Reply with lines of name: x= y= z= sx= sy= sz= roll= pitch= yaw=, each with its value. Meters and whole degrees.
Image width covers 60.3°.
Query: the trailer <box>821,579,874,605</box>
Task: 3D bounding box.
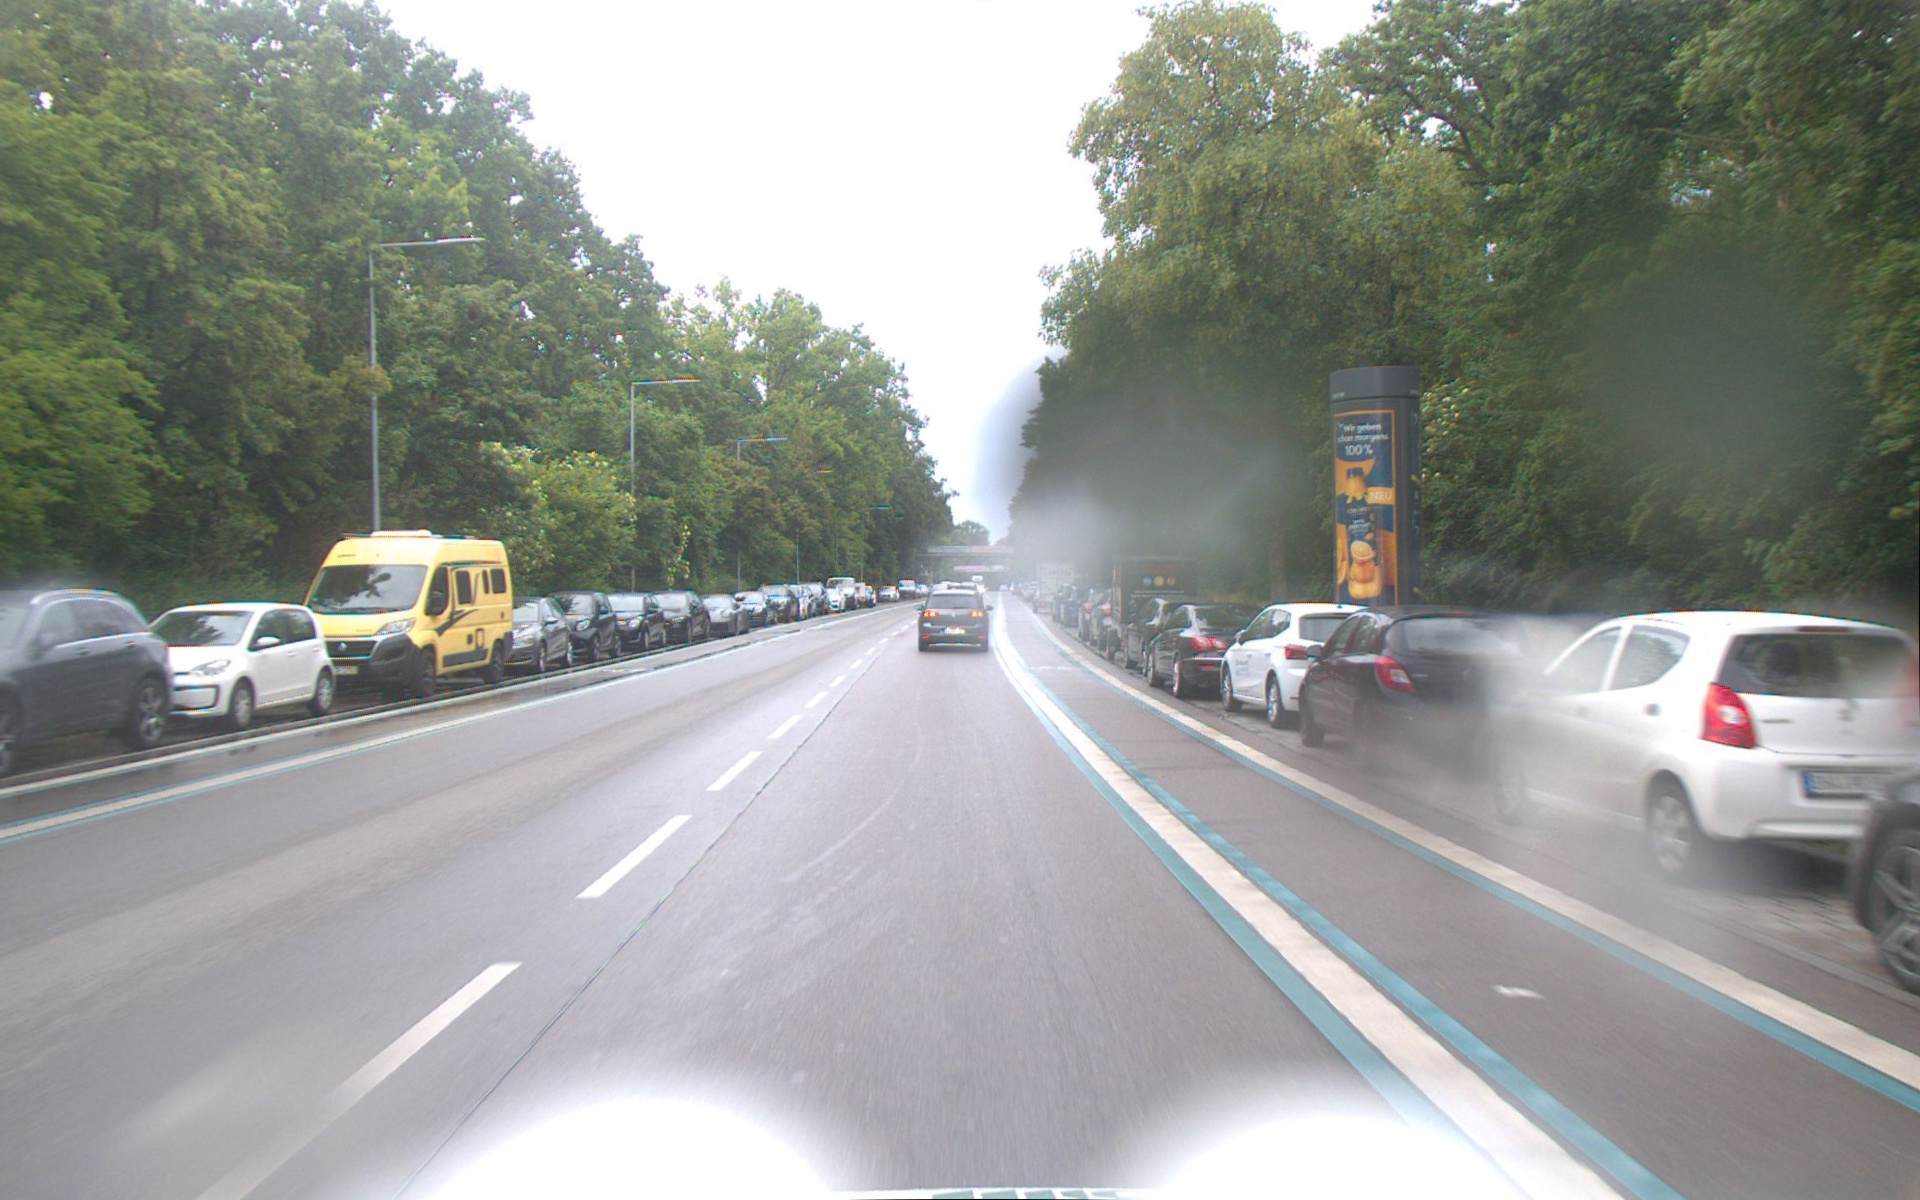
trailer: x=-7.263 y=-0.530 z=106.729 sx=1.596 sy=1.657 sz=3.664 roll=0 pitch=1 yaw=32

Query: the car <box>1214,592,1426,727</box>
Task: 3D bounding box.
car: x=4.386 y=0.669 z=20.724 sx=1.585 sy=1.492 sz=3.998 roll=1 pitch=0 yaw=-3

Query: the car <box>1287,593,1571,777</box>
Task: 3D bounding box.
car: x=4.372 y=0.713 z=16.005 sx=1.625 sy=1.490 sz=3.900 roll=2 pitch=1 yaw=0

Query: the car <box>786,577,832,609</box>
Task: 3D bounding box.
car: x=-7.731 y=-0.362 z=84.847 sx=1.840 sy=1.588 sz=4.469 roll=0 pitch=1 yaw=1

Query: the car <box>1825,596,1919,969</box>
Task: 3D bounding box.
car: x=4.758 y=0.753 z=4.935 sx=1.818 sy=1.480 sz=4.750 roll=0 pitch=1 yaw=-1

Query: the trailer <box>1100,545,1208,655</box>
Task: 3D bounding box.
trailer: x=4.241 y=-0.033 z=36.865 sx=1.867 sy=2.287 sz=4.768 roll=0 pitch=1 yaw=0

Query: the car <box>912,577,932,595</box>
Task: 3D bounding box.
car: x=-4.468 y=-1.715 z=196.111 sx=2.114 sy=2.049 sz=5.032 roll=-1 pitch=1 yaw=2

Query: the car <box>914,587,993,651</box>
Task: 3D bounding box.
car: x=-0.185 y=0.467 z=40.992 sx=1.833 sy=1.466 sz=4.295 roll=1 pitch=-1 yaw=-1

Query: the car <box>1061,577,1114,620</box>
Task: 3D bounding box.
car: x=4.641 y=-0.092 z=60.563 sx=1.647 sy=1.507 sz=4.319 roll=0 pitch=1 yaw=0

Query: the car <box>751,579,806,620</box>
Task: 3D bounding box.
car: x=-7.484 y=-0.048 z=68.524 sx=1.661 sy=1.611 sz=4.140 roll=-1 pitch=1 yaw=2

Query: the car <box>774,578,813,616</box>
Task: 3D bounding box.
car: x=-7.332 y=-0.152 z=72.987 sx=1.431 sy=1.598 sz=2.984 roll=-1 pitch=1 yaw=0

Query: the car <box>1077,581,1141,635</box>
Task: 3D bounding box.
car: x=4.283 y=0.199 z=47.880 sx=1.581 sy=1.496 sz=4.001 roll=1 pitch=1 yaw=1

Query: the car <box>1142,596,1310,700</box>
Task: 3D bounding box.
car: x=4.038 y=0.681 z=25.809 sx=1.716 sy=1.418 sz=4.444 roll=1 pitch=0 yaw=-2

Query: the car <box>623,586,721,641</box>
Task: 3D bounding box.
car: x=-8.306 y=0.370 z=48.080 sx=1.952 sy=1.477 sz=4.140 roll=-1 pitch=1 yaw=2

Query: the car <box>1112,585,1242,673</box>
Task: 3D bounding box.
car: x=4.071 y=0.501 z=31.652 sx=1.785 sy=1.511 sz=4.198 roll=1 pitch=1 yaw=-2

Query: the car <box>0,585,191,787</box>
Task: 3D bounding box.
car: x=-9.314 y=0.746 z=15.642 sx=1.953 sy=1.730 sz=4.615 roll=-1 pitch=1 yaw=-1

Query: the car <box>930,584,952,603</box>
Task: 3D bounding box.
car: x=-1.608 y=-0.596 z=140.660 sx=1.663 sy=1.510 sz=4.036 roll=-2 pitch=1 yaw=1

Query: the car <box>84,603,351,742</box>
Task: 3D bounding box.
car: x=-9.156 y=0.833 z=20.725 sx=1.584 sy=1.474 sz=3.658 roll=-2 pitch=1 yaw=1

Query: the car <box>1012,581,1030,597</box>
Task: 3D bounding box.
car: x=7.336 y=-1.290 z=199.083 sx=1.952 sy=1.803 sz=4.001 roll=-2 pitch=0 yaw=1

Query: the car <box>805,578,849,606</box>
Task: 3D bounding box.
car: x=-7.294 y=-0.444 z=91.367 sx=1.952 sy=1.514 sz=4.469 roll=0 pitch=1 yaw=1

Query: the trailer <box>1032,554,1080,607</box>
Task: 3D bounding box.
trailer: x=4.824 y=-0.975 z=83.429 sx=2.089 sy=2.605 sz=4.296 roll=-1 pitch=1 yaw=-1

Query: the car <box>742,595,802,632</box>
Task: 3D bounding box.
car: x=-7.180 y=0.502 z=63.518 sx=1.661 sy=1.323 sz=4.193 roll=-1 pitch=1 yaw=2

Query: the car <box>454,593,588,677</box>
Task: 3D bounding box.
car: x=-8.776 y=0.651 z=33.377 sx=1.645 sy=1.524 sz=4.148 roll=-2 pitch=1 yaw=-1

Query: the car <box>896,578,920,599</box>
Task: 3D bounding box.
car: x=-5.363 y=-1.225 z=171.396 sx=2.114 sy=2.049 sz=5.032 roll=-1 pitch=1 yaw=2

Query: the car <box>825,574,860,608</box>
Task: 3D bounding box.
car: x=-7.222 y=-0.582 z=101.747 sx=1.900 sy=2.049 sz=4.739 roll=-1 pitch=1 yaw=-2

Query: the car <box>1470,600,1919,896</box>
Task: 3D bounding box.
car: x=4.594 y=0.766 z=10.382 sx=1.528 sy=1.486 sz=3.674 roll=0 pitch=0 yaw=-2

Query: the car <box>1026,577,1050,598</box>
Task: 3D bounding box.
car: x=6.208 y=-0.981 z=131.908 sx=1.858 sy=1.634 sz=4.001 roll=0 pitch=1 yaw=1

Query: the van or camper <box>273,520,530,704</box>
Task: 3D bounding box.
van or camper: x=-8.973 y=0.139 z=27.228 sx=2.099 sy=2.673 sz=5.684 roll=-1 pitch=1 yaw=2

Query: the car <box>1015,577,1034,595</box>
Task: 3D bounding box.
car: x=7.466 y=-1.646 z=191.721 sx=1.953 sy=2.049 sz=4.000 roll=0 pitch=0 yaw=0

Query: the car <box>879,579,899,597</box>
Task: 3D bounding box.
car: x=-6.278 y=-1.042 z=146.738 sx=1.638 sy=1.540 sz=3.631 roll=0 pitch=1 yaw=0

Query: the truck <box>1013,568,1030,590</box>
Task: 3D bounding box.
truck: x=7.662 y=-2.611 z=206.665 sx=2.069 sy=2.644 sz=4.302 roll=-1 pitch=1 yaw=1

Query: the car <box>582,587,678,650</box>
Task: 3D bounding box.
car: x=-8.619 y=0.448 z=43.466 sx=1.569 sy=1.536 sz=3.978 roll=-1 pitch=1 yaw=2

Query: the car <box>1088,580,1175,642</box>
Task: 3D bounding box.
car: x=4.334 y=0.247 z=42.257 sx=1.758 sy=1.475 sz=4.428 roll=-1 pitch=1 yaw=0

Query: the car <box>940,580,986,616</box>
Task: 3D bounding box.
car: x=0.098 y=-0.123 z=72.526 sx=1.843 sy=1.491 sz=3.999 roll=1 pitch=1 yaw=-2

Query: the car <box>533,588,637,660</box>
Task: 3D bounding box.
car: x=-8.587 y=0.526 z=38.116 sx=1.569 sy=1.536 sz=3.140 roll=-1 pitch=1 yaw=2

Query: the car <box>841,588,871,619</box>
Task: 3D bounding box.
car: x=-7.041 y=0.209 z=112.340 sx=1.900 sy=2.049 sz=4.739 roll=-1 pitch=1 yaw=-2

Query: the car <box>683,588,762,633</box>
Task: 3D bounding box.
car: x=-7.571 y=0.313 z=53.001 sx=1.831 sy=1.326 sz=4.471 roll=-1 pitch=1 yaw=1

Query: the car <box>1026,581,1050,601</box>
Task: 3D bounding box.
car: x=6.400 y=-0.765 z=136.524 sx=1.858 sy=1.634 sz=4.001 roll=0 pitch=1 yaw=1
